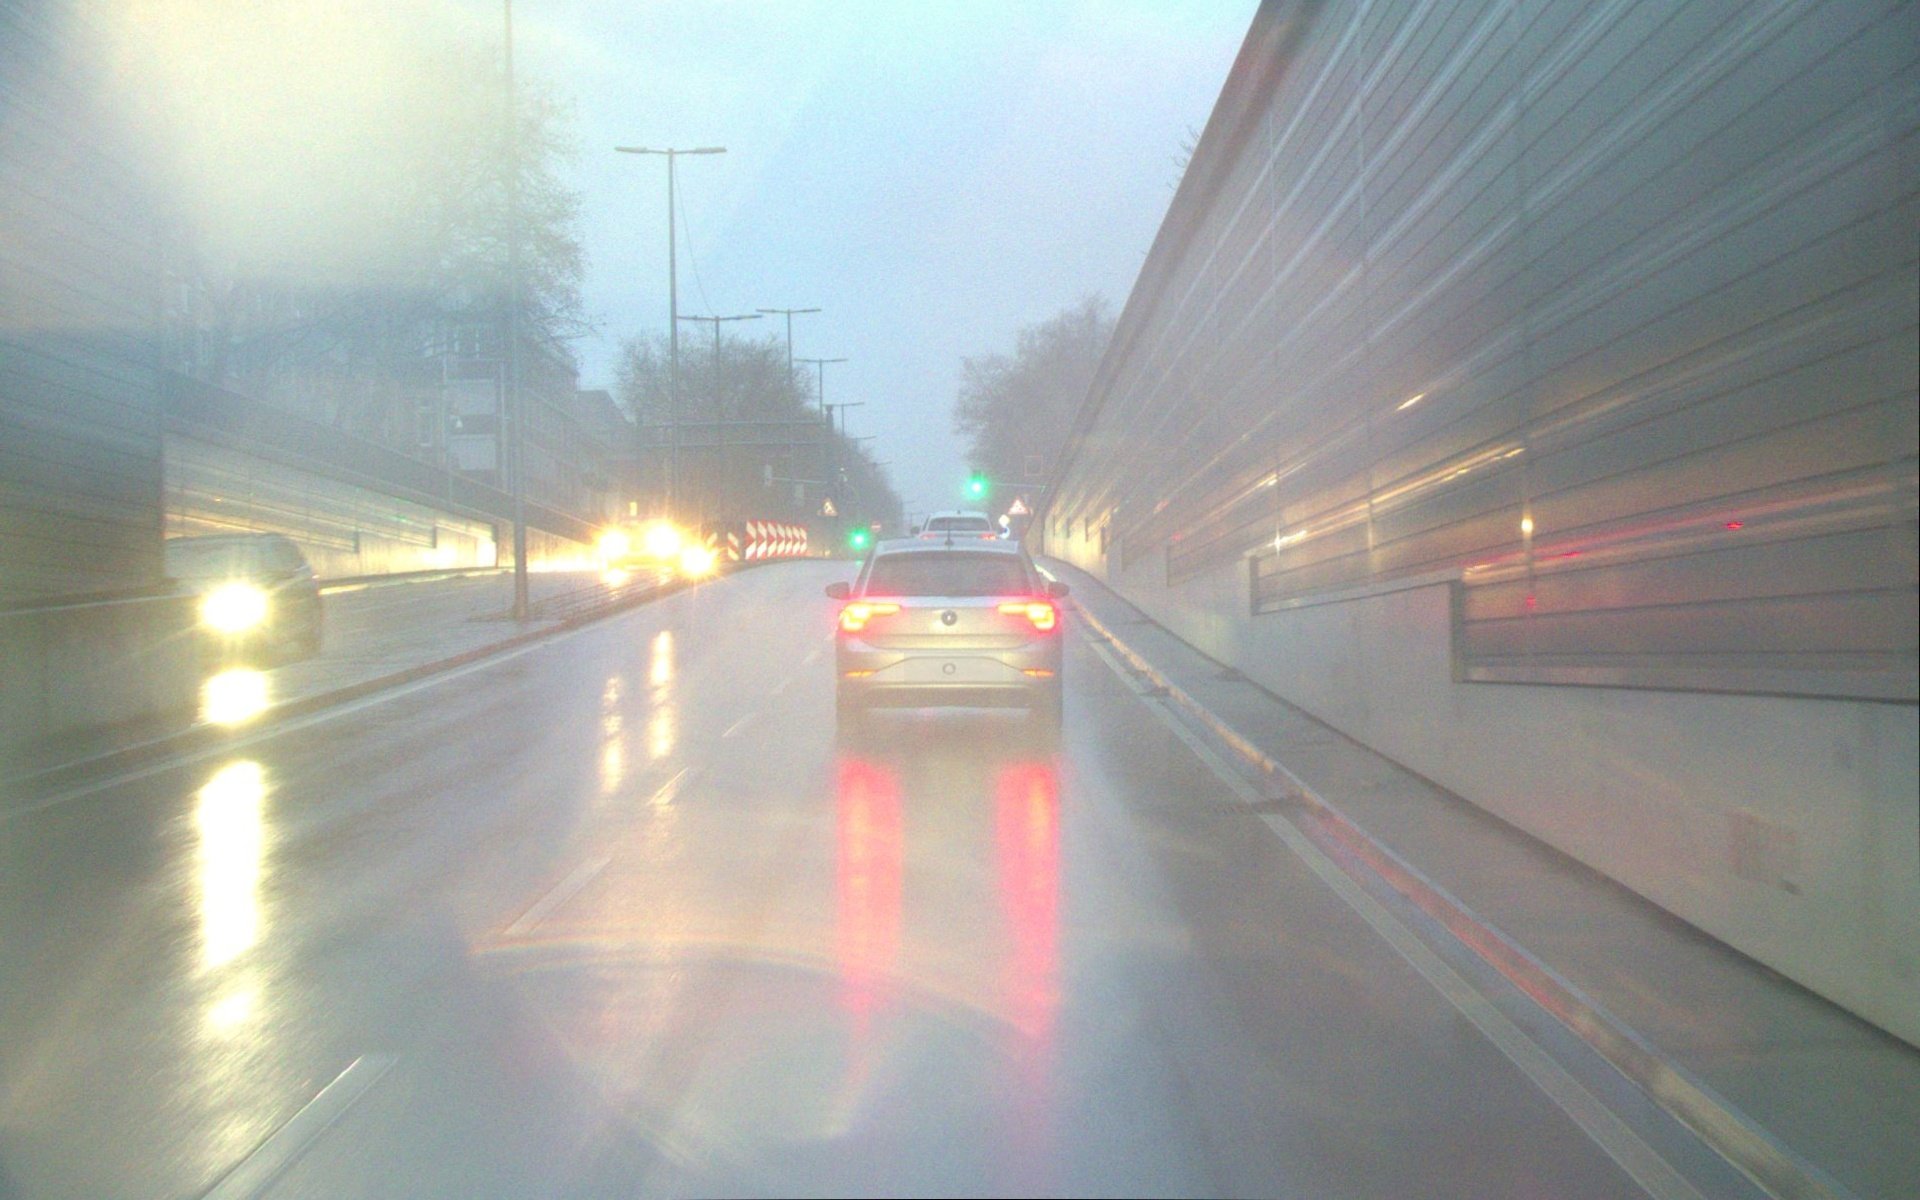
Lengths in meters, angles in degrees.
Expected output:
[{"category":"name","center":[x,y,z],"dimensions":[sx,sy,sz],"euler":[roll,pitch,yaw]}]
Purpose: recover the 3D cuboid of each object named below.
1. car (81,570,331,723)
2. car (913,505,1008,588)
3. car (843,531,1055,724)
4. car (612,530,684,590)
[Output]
[{"category":"car","center":[-8.338,0.527,38.365],"dimensions":[1.880,1.615,4.000],"euler":[0,-1,0]},{"category":"car","center":[-0.012,-1.104,72.652],"dimensions":[1.880,1.615,4.000],"euler":[0,-1,-2]},{"category":"car","center":[-0.075,0.203,26.939],"dimensions":[1.532,1.392,3.434],"euler":[-1,0,0]},{"category":"car","center":[-8.286,-1.086,91.514],"dimensions":[1.571,1.465,3.687],"euler":[-2,2,0]}]
